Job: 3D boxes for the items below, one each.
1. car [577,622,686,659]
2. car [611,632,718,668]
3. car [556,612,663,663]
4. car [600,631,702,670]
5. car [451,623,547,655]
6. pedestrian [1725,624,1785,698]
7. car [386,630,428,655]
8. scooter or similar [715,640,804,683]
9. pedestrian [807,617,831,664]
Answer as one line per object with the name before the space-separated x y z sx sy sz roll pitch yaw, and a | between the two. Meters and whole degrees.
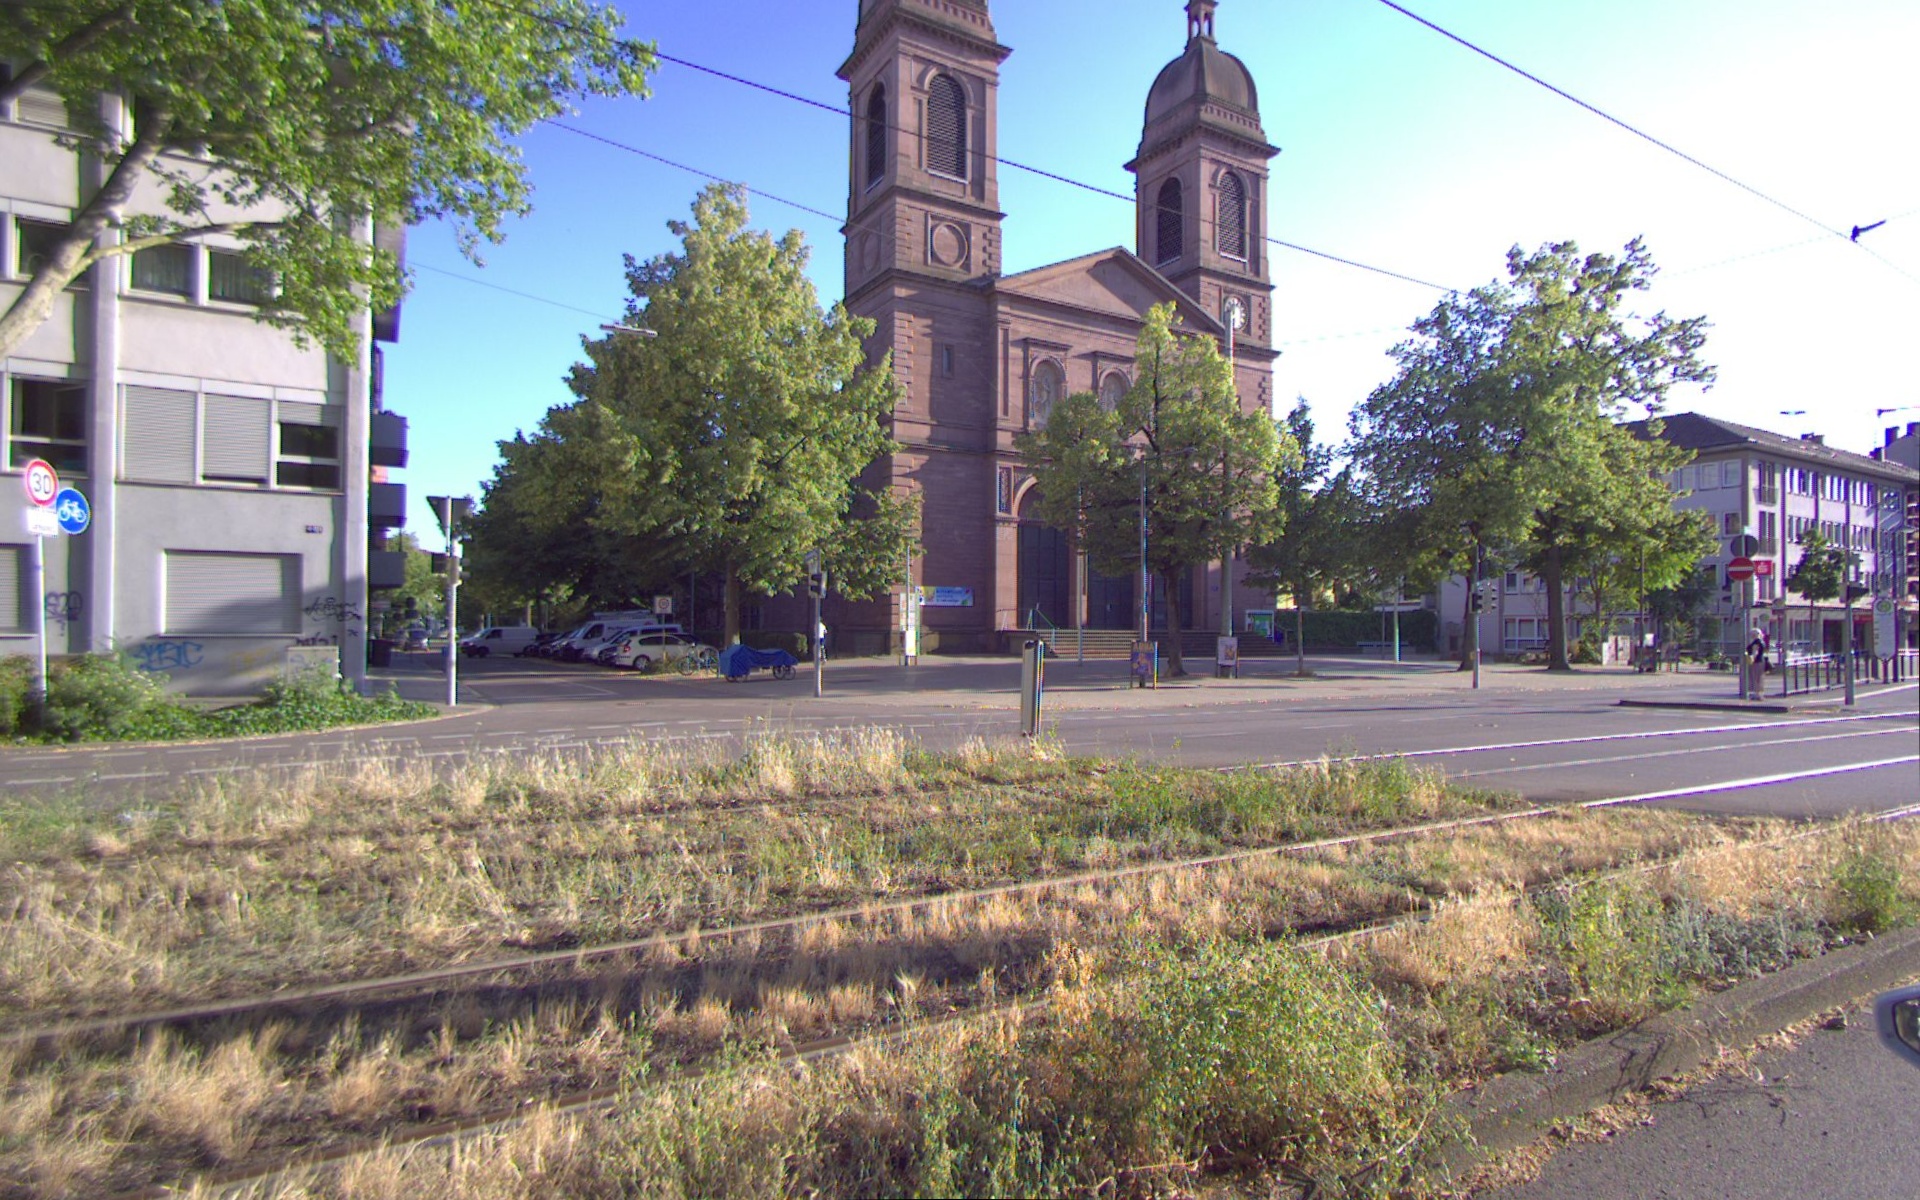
car | -15.708 1.910 48.083 4.655 1.684 1.984 1 -2 -30
car | -12.263 2.042 41.706 3.953 1.416 1.802 0 -1 -30
car | -18.430 1.975 52.901 5.054 2.551 1.984 1 -2 -30
car | -13.494 2.171 43.954 3.953 1.639 1.876 1 -2 -30
car | -30.119 2.523 65.795 1.973 2.040 5.392 -1 -2 44
pedestrian | 19.747 1.495 24.954 0.822 1.783 0.915 2 -2 -29
car | -46.997 3.564 85.300 1.985 2.040 5.360 2 -2 -41
scooter or similar | -6.126 1.855 30.700 2.419 1.141 1.088 -1 0 -30
pedestrian | -5.461 1.561 38.816 0.684 1.789 0.733 1 -1 -31
